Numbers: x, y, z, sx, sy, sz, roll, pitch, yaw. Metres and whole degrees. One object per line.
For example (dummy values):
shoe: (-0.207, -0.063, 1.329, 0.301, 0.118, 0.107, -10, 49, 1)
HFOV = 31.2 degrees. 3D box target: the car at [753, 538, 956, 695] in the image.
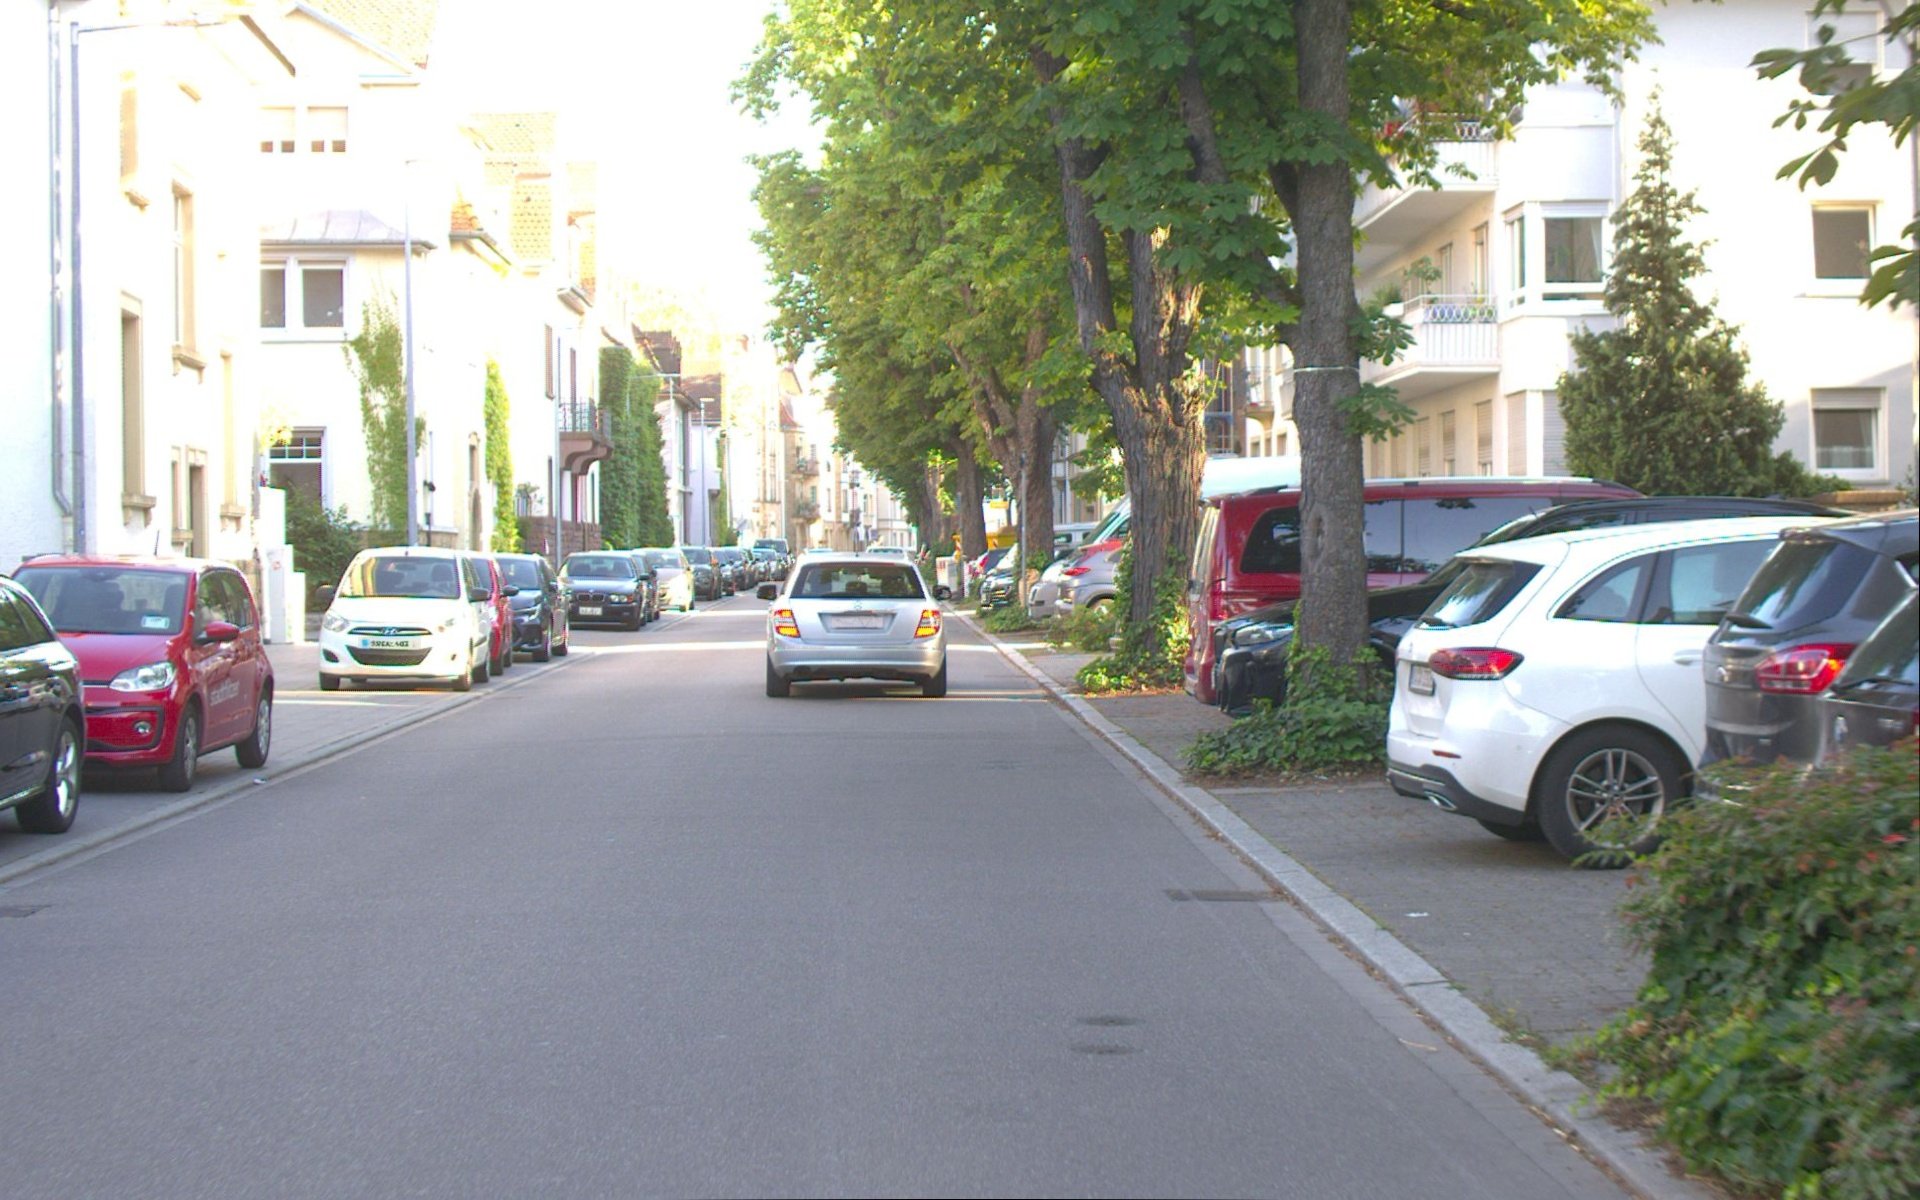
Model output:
car: (-1.001, 0.154, 34.709, 1.817, 1.468, 4.216, -1, 0, 1)

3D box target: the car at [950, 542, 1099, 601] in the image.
car: (1.677, -0.761, 90.225, 3.844, 1.477, 1.805, -1, 1, 0)

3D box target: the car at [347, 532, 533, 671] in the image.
car: (-6.380, 0.034, 42.547, 1.799, 1.639, 3.857, 0, 0, -1)

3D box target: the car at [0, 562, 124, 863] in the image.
car: (-5.648, 0.555, 17.337, 1.783, 1.492, 4.700, 0, 0, -1)

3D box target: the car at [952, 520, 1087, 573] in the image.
car: (1.703, -1.555, 99.475, 3.844, 1.477, 1.805, -1, 1, 0)

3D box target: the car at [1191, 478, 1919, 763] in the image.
car: (3.950, 0.118, 23.108, 4.625, 1.830, 1.954, 0, 1, -1)

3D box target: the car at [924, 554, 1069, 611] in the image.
car: (0.963, -0.481, 92.651, 3.844, 1.477, 1.805, -1, 1, 0)

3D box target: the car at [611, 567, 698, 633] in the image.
car: (-7.207, -0.008, 81.298, 1.799, 1.477, 3.857, 0, 1, -1)

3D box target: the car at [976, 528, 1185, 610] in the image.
car: (2.243, -0.599, 64.839, 3.844, 1.477, 1.805, -1, 1, 0)

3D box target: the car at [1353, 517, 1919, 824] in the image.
car: (4.168, 0.343, 18.489, 3.812, 1.563, 1.744, 0, 1, -5)

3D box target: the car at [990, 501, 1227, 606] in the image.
car: (2.931, -0.944, 68.610, 4.518, 2.007, 2.251, -1, 1, -3)

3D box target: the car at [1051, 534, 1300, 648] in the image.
car: (3.257, -0.147, 52.378, 3.594, 1.654, 1.650, -1, 1, -3)

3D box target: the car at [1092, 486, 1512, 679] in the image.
car: (3.537, -0.201, 36.086, 4.129, 1.915, 1.891, -1, 1, -3)

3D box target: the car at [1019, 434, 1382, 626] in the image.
car: (3.833, -1.137, 55.582, 5.541, 2.958, 2.472, -1, 1, -3)

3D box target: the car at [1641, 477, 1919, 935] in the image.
car: (4.621, 0.345, 13.356, 3.547, 1.648, 1.725, -1, 1, -2)

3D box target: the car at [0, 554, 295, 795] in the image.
car: (-5.630, 0.445, 23.065, 1.659, 1.483, 3.754, 0, 0, -1)

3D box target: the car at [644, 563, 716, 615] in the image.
car: (-7.758, -0.329, 95.449, 1.799, 1.382, 3.606, 0, 1, -1)

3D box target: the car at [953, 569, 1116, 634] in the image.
car: (1.764, 0.022, 82.240, 3.844, 1.477, 1.805, -1, 1, 0)

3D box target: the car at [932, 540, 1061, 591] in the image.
car: (1.096, -1.057, 103.831, 3.844, 1.477, 1.805, -1, 1, 0)

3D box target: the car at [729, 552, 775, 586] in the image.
car: (-8.864, -1.322, 146.713, 1.799, 1.382, 3.606, 0, 1, -1)

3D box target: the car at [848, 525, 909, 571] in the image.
car: (-2.699, -1.723, 114.646, 1.817, 1.468, 4.216, -1, 0, 1)

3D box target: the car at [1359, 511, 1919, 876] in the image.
car: (3.851, 0.383, 15.944, 3.730, 1.553, 1.725, -1, 1, -2)

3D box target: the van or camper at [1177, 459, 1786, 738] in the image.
van or camper: (3.825, -0.032, 25.867, 4.313, 2.007, 2.000, 0, 1, 2)

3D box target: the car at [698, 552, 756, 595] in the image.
car: (-7.906, -0.915, 116.923, 1.799, 1.382, 3.606, 0, 1, -1)

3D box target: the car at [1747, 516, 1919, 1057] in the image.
car: (4.626, 0.492, 10.771, 3.925, 1.553, 1.725, -1, 1, 2)

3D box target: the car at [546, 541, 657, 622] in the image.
car: (-6.792, -0.368, 65.414, 1.799, 1.477, 3.857, 0, 1, -1)

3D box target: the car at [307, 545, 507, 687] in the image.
car: (-6.039, 0.152, 37.885, 1.659, 1.494, 3.754, 0, 0, -1)

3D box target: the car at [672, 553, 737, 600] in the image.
car: (-7.794, -0.721, 105.146, 1.799, 1.382, 3.606, 0, 1, -1)

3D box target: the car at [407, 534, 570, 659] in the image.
car: (-6.421, -0.080, 47.151, 1.799, 1.639, 3.857, 0, 1, -1)
